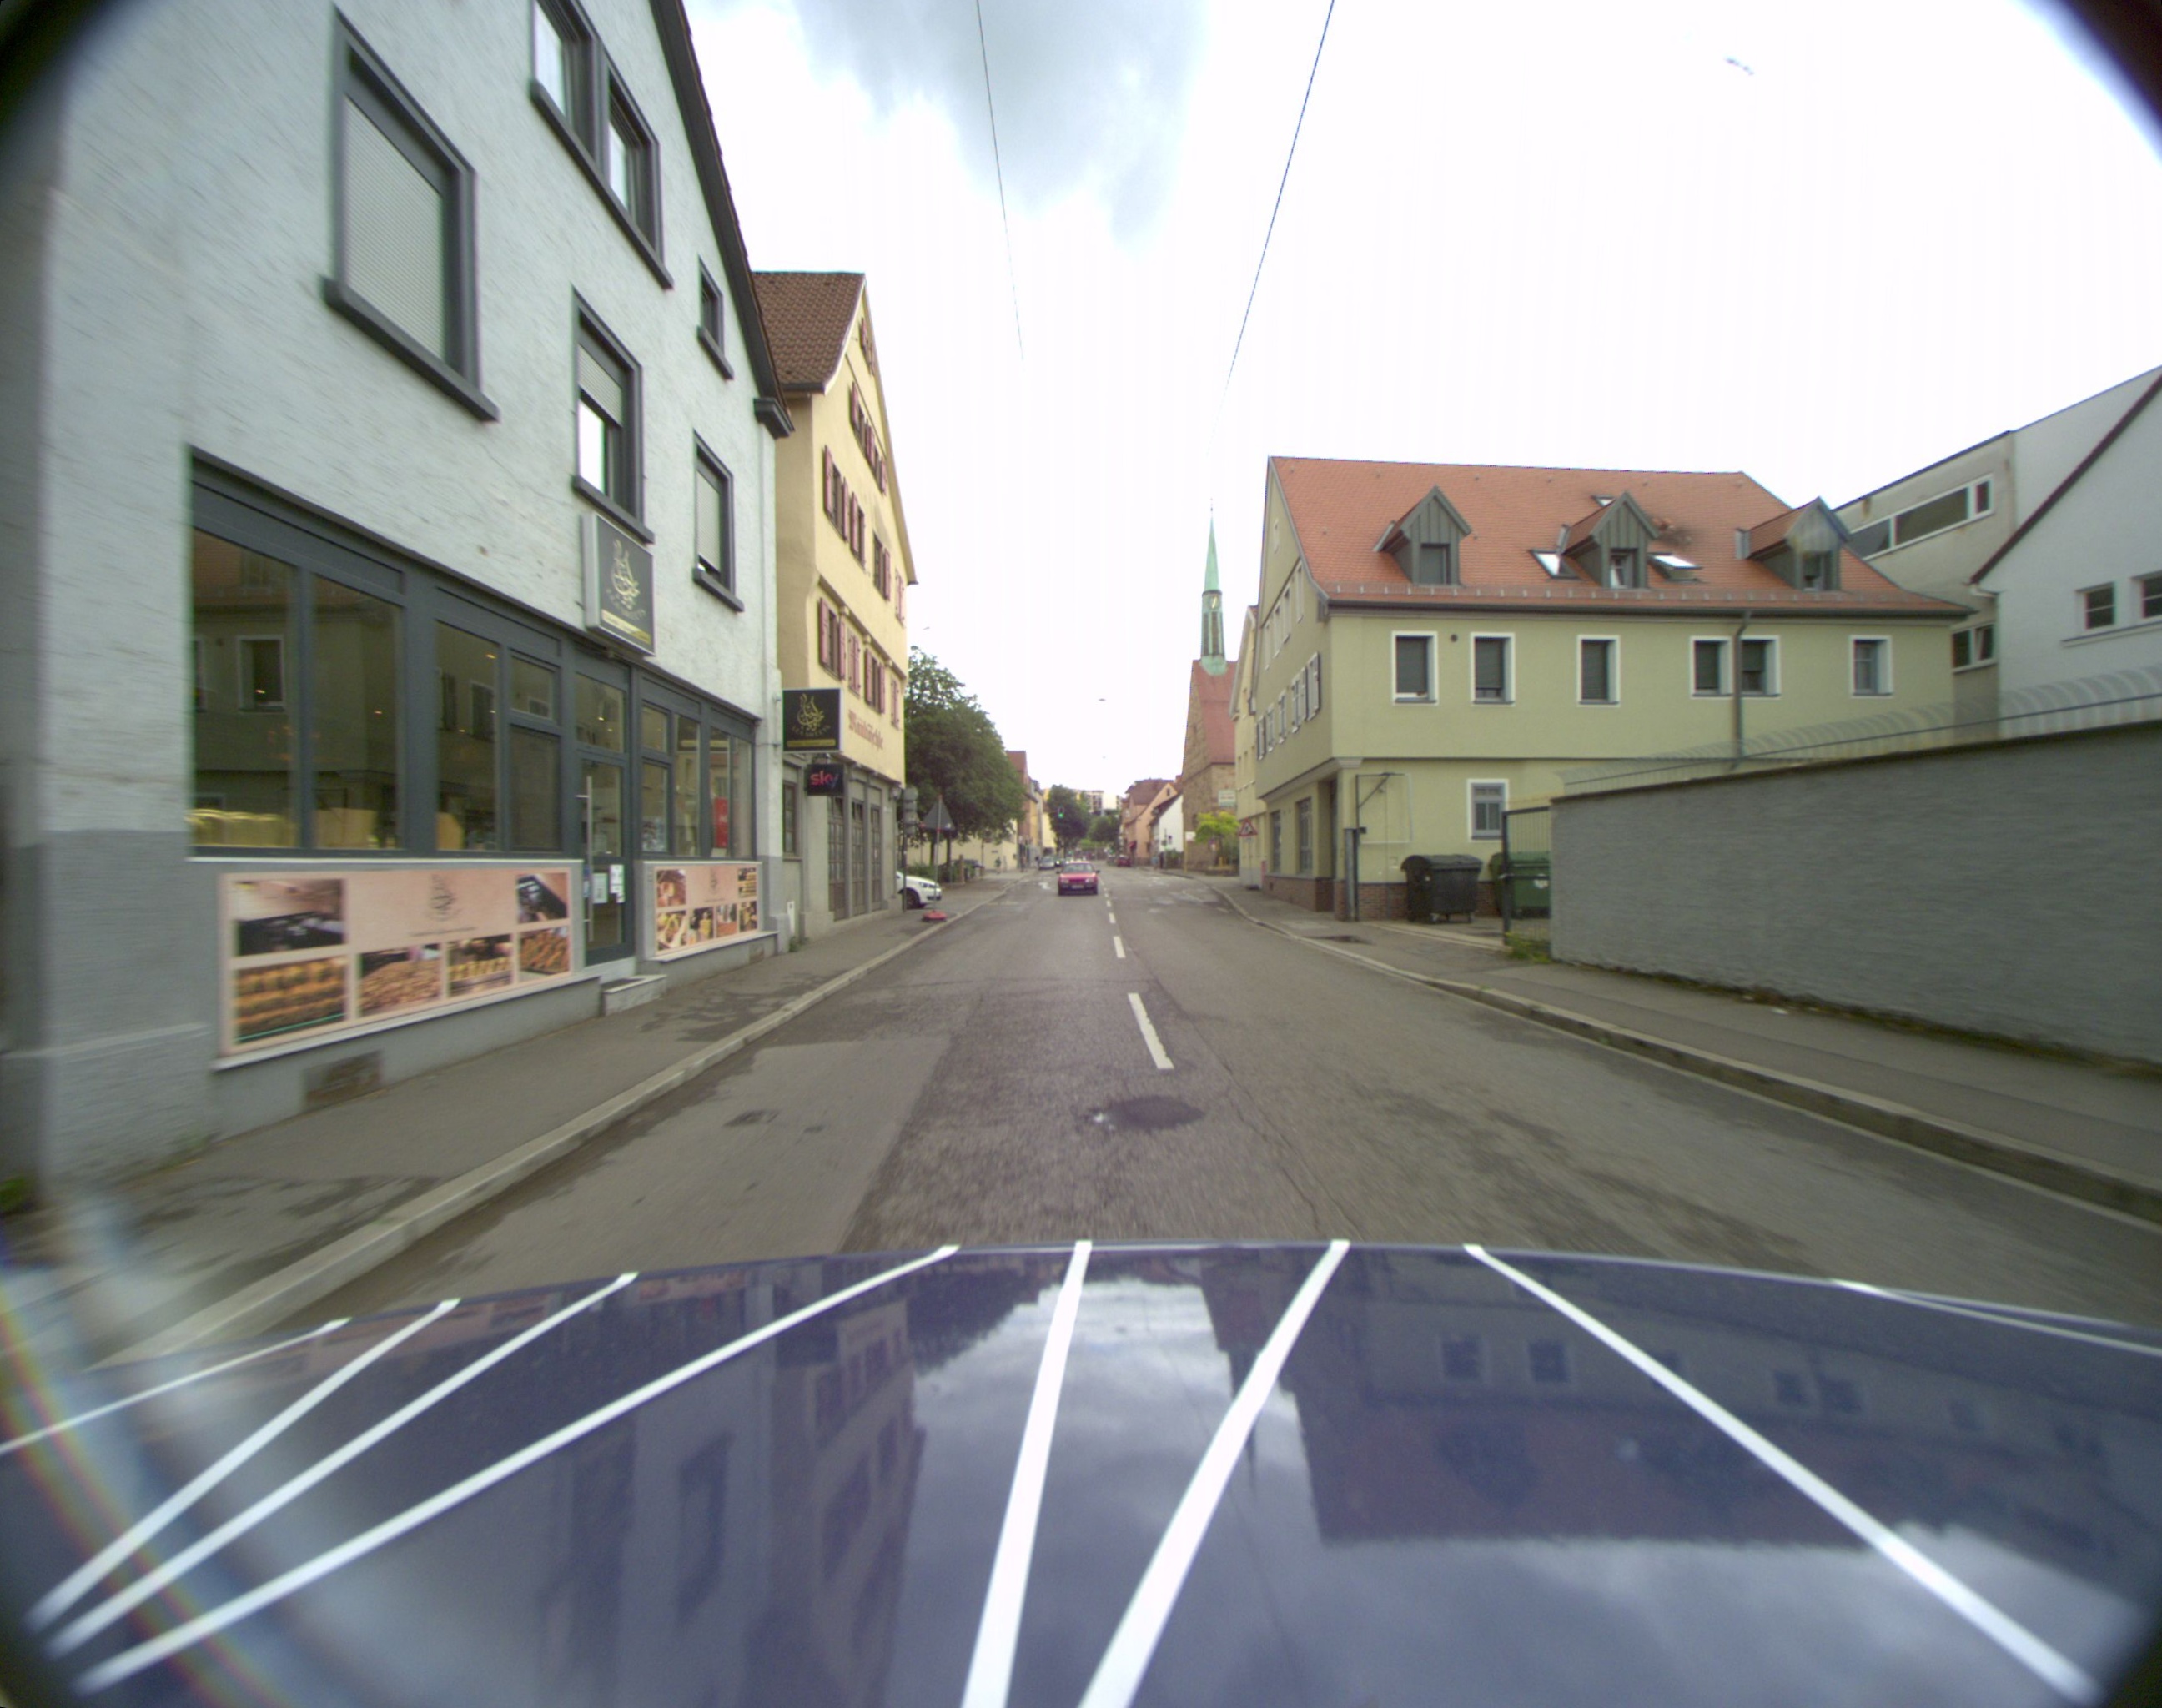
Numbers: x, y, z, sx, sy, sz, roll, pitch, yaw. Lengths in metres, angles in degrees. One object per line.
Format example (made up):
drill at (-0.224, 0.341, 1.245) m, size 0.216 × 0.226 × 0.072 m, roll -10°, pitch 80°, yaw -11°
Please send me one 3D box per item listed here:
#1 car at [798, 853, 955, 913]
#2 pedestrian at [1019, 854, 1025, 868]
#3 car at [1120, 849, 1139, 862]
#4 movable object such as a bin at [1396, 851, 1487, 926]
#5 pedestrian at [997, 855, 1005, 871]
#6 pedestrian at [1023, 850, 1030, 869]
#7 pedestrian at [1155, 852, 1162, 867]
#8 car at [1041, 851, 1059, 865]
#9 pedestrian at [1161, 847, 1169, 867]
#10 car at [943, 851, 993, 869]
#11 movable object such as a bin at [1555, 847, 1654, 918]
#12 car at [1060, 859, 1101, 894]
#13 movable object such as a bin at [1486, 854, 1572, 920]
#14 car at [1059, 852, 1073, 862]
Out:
car at (-6.450, 0.887, 24.328) m, size 4.464 × 1.777 × 1.999 m, roll -1°, pitch 1°, yaw -1°
pedestrian at (-5.829, 0.690, 74.923) m, size 0.599 × 1.435 × 0.771 m, roll 0°, pitch 1°, yaw -3°
car at (6.807, 0.192, 106.619) m, size 2.213 × 1.668 × 4.497 m, roll 0°, pitch 1°, yaw -1°
movable object such as a bin at (7.552, 0.699, 15.972) m, size 1.312 × 1.467 × 1.099 m, roll -2°, pitch 1°, yaw -9°
pedestrian at (-7.348, 0.844, 69.822) m, size 0.599 × 1.435 × 0.771 m, roll 0°, pitch 1°, yaw -3°
pedestrian at (-6.170, 0.657, 85.795) m, size 0.660 × 2.102 × 0.646 m, roll 1°, pitch 0°, yaw 0°
pedestrian at (8.364, 0.569, 82.073) m, size 0.637 × 1.597 × 0.711 m, roll 0°, pitch 1°, yaw 0°
car at (-3.620, 0.434, 90.170) m, size 2.033 × 1.546 × 3.999 m, roll 0°, pitch 1°, yaw -1°
pedestrian at (9.031, 0.320, 81.955) m, size 0.758 × 2.109 × 0.783 m, roll -2°, pitch 1°, yaw 0°
car at (-10.043, 0.490, 67.758) m, size 3.996 × 1.455 × 2.000 m, roll -2°, pitch 1°, yaw 2°
movable object such as a bin at (11.166, 0.590, 16.242) m, size 1.343 × 1.441 × 1.100 m, roll -1°, pitch 1°, yaw -1°
car at (0.007, 0.952, 33.123) m, size 1.685 × 1.418 × 4.022 m, roll -1°, pitch -1°, yaw 1°
movable object such as a bin at (9.620, 0.695, 16.374) m, size 1.245 × 1.353 × 1.059 m, roll -1°, pitch 1°, yaw 4°
car at (-2.033, 0.407, 104.261) m, size 1.822 × 1.380 × 3.999 m, roll 0°, pitch 1°, yaw -1°
